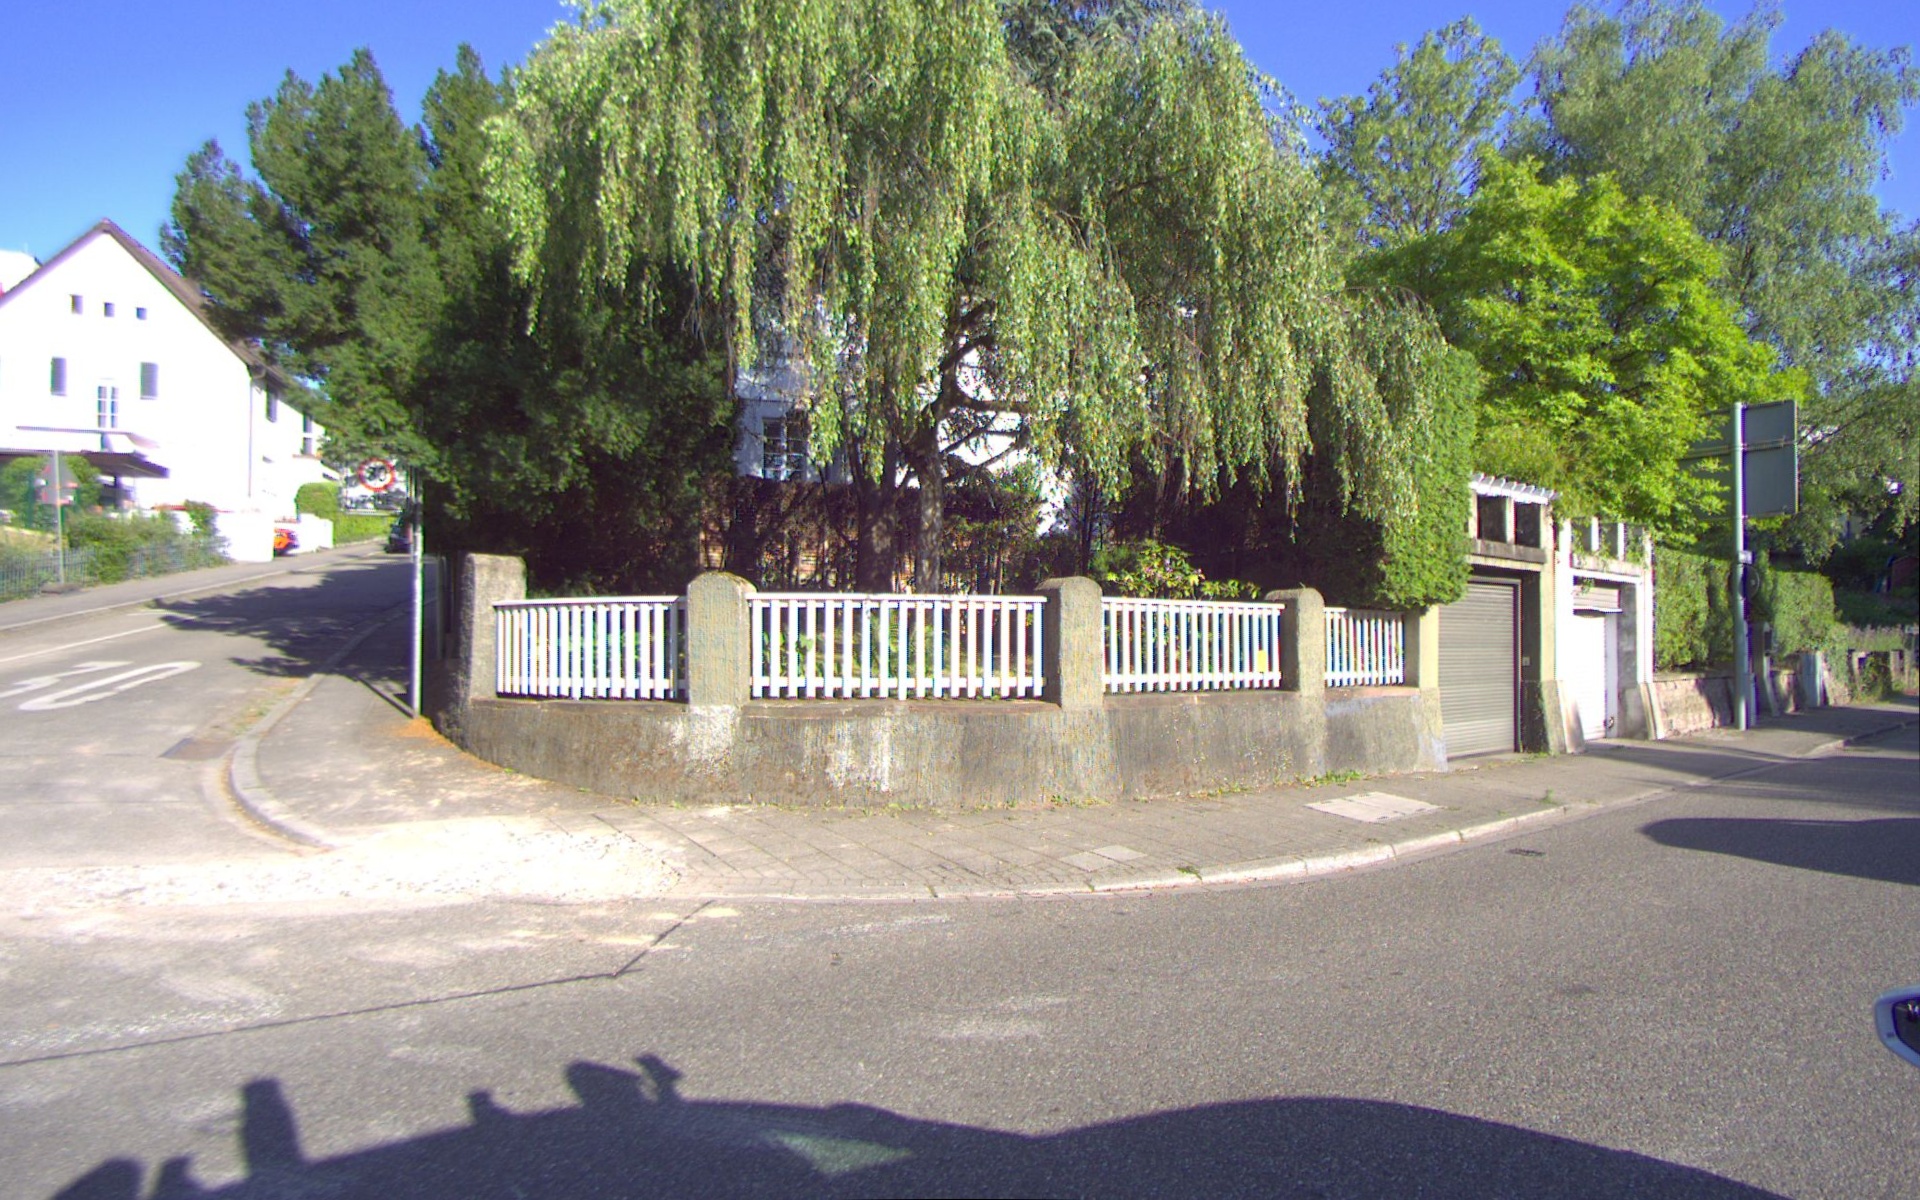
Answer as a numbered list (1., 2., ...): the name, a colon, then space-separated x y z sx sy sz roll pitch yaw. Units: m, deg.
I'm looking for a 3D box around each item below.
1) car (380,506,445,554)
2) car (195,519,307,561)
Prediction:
1. car: -22.585 -2.926 41.546 1.972 1.729 3.976 2 6 -23
2. car: -24.451 -2.066 34.752 2.847 1.238 1.474 2 0 -22
